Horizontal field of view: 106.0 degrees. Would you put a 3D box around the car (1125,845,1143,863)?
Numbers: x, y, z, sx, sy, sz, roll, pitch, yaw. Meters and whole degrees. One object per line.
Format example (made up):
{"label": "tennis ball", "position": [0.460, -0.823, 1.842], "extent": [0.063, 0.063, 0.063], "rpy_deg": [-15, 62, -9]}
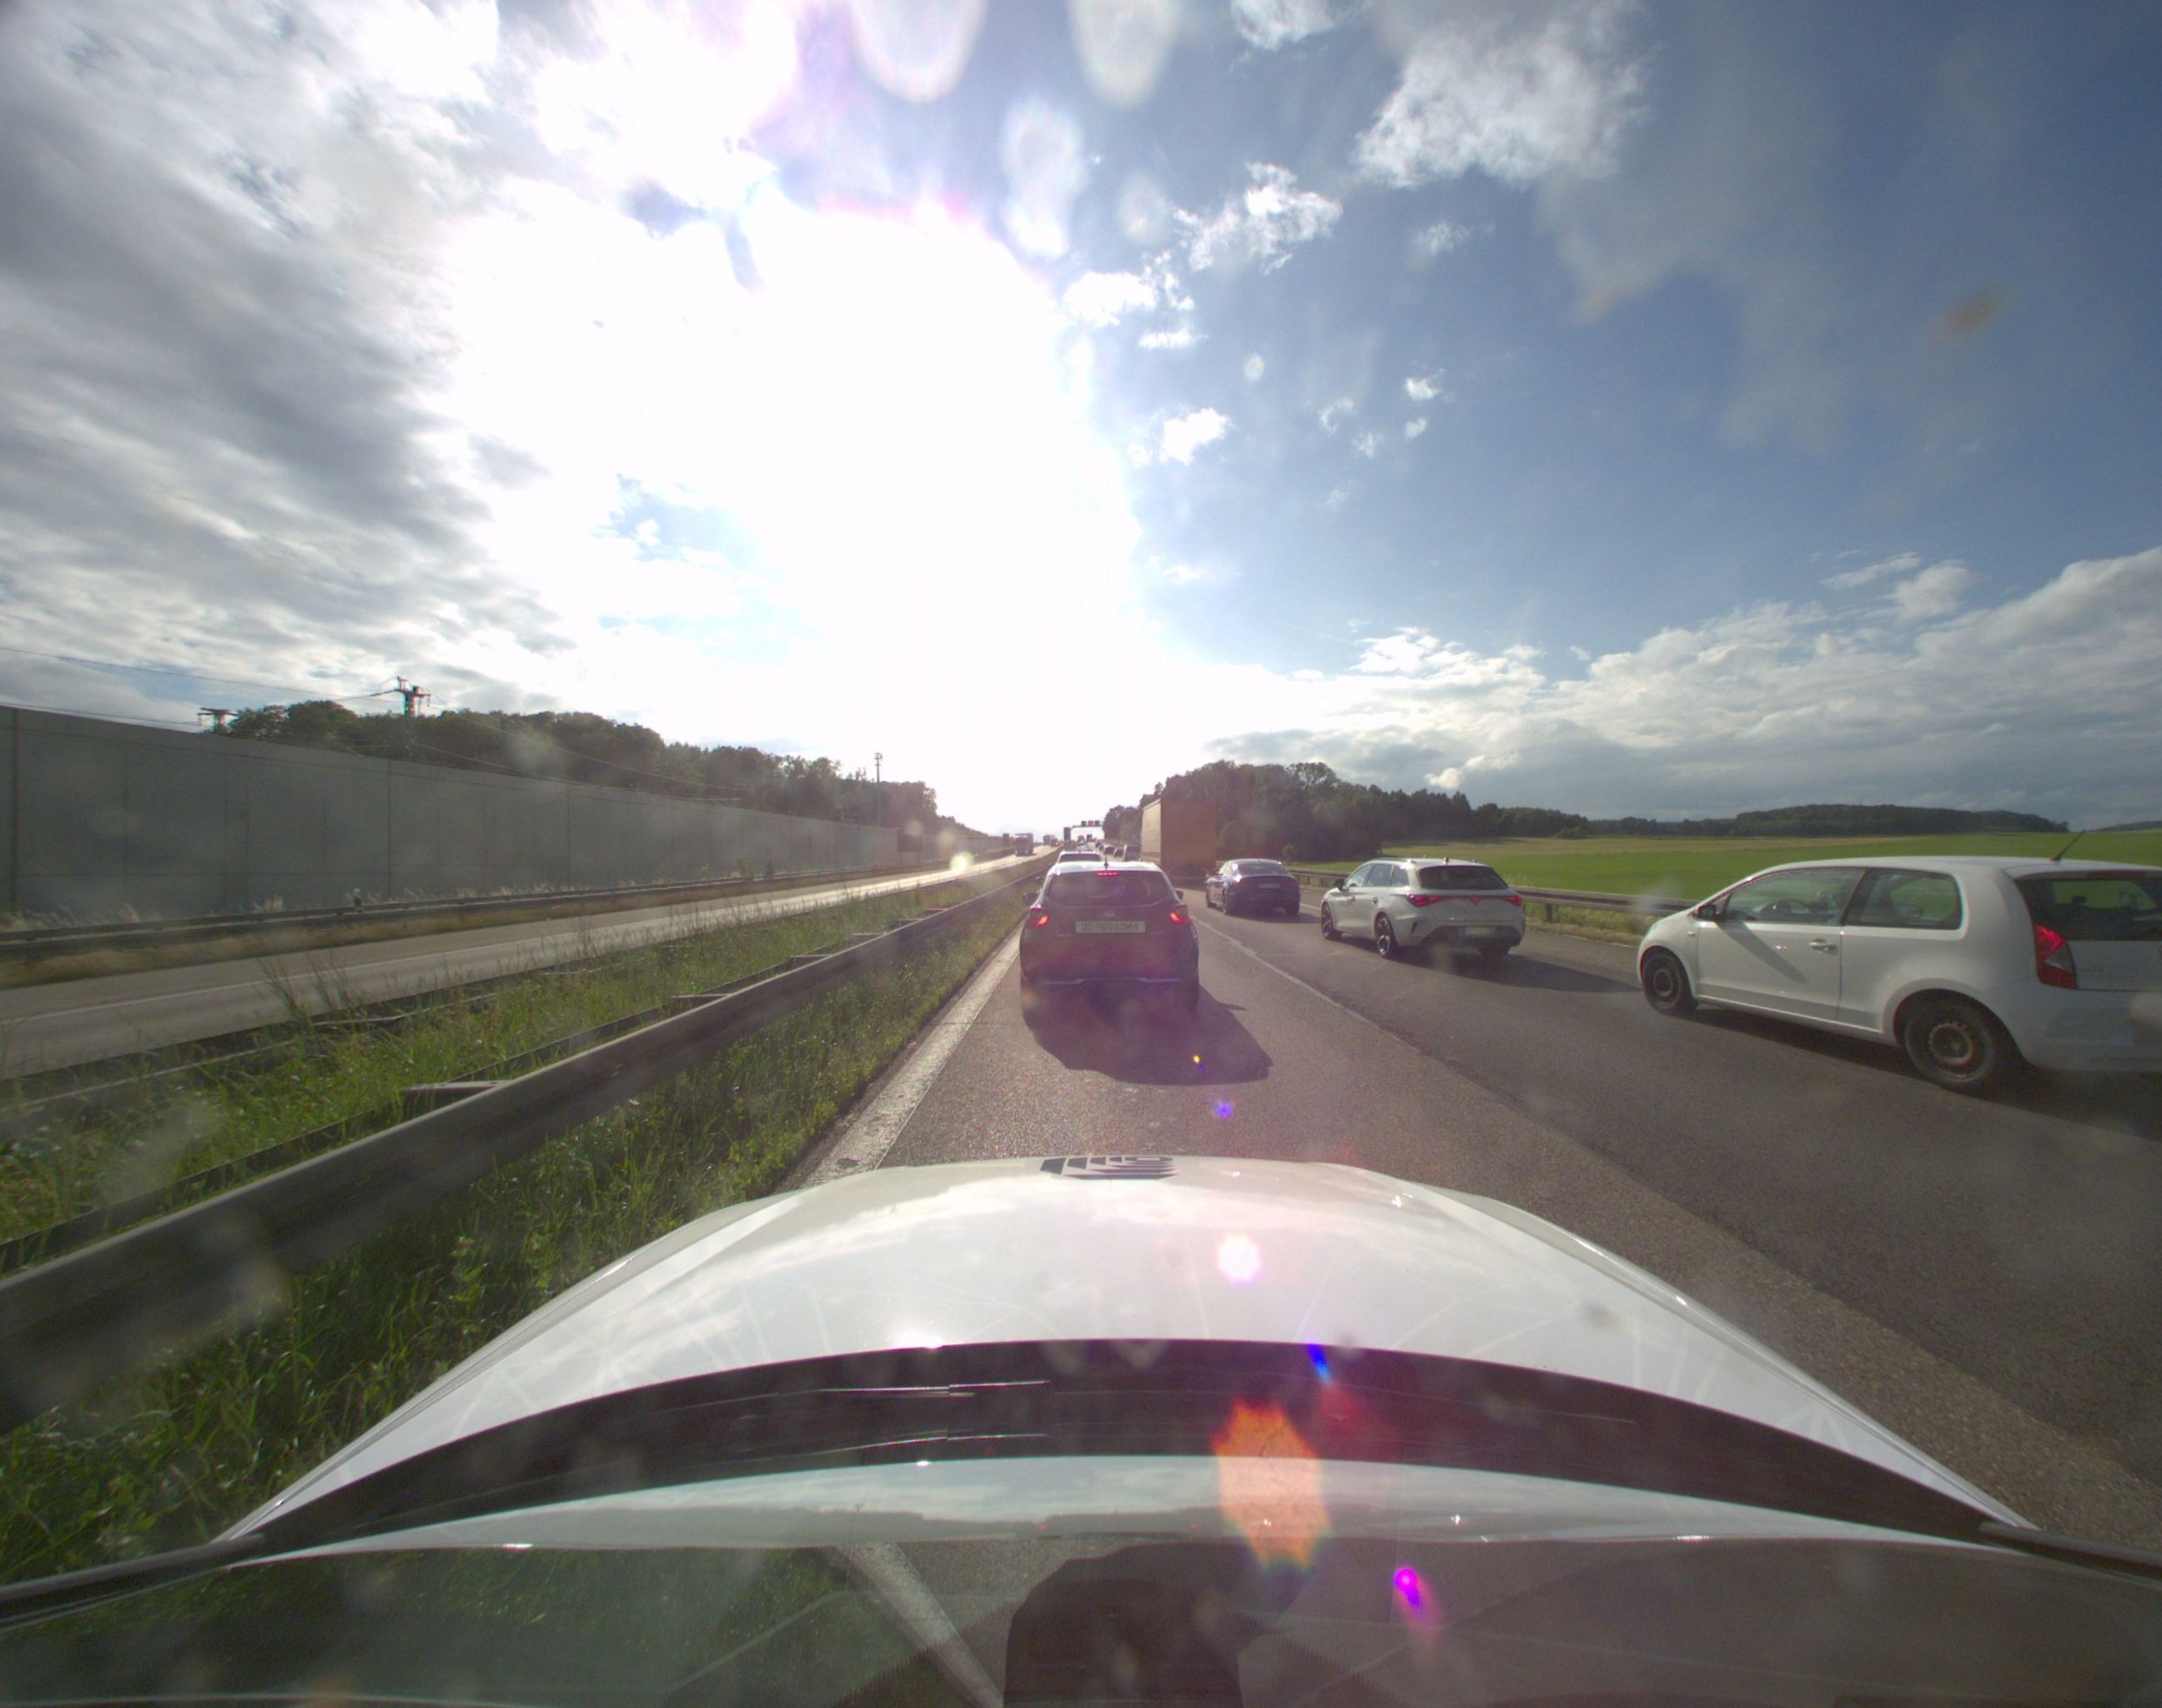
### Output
{"label": "car", "position": [5.238, 0.015, 81.081], "extent": [1.661, 1.755, 3.328], "rpy_deg": [0, -1, 2]}

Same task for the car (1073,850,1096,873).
{"label": "car", "position": [0.273, 0.698, 73.519], "extent": [1.987, 2.014, 3.998], "rpy_deg": [0, -1, -1]}

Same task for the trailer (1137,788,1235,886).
{"label": "trailer", "position": [5.234, -0.717, 43.467], "extent": [3.538, 4.457, 12.718], "rpy_deg": [0, 0, 0]}

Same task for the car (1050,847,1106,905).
{"label": "car", "position": [-0.044, 0.671, 26.137], "extent": [1.668, 1.726, 3.597], "rpy_deg": [-1, -1, 1]}

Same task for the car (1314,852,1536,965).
{"label": "car", "position": [5.071, 0.725, 12.659], "extent": [1.616, 1.445, 4.144], "rpy_deg": [-1, -1, -1]}

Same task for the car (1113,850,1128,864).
{"label": "car", "position": [5.947, 0.448, 122.587], "extent": [1.987, 2.014, 3.998], "rpy_deg": [0, -1, -1]}

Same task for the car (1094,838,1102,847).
{"label": "car", "position": [4.065, -2.788, 196.570], "extent": [1.987, 2.014, 3.998], "rpy_deg": [0, -1, -1]}

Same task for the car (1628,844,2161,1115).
{"label": "car", "position": [6.110, 0.684, 6.235], "extent": [1.544, 1.495, 3.376], "rpy_deg": [0, 0, -1]}

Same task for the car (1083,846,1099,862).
{"label": "car", "position": [1.255, 0.034, 107.222], "extent": [1.987, 2.014, 3.998], "rpy_deg": [0, -1, -1]}

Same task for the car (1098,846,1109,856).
{"label": "car", "position": [4.554, -0.600, 164.839], "extent": [1.987, 2.014, 3.998], "rpy_deg": [0, -1, -1]}

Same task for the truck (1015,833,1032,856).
{"label": "truck", "position": [-10.580, -1.652, 150.161], "extent": [2.629, 4.098, 7.000], "rpy_deg": [0, -1, 0]}

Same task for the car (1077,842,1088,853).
{"label": "car", "position": [0.254, -1.165, 152.366], "extent": [1.987, 2.014, 3.998], "rpy_deg": [0, -1, -1]}

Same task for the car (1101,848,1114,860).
{"label": "car", "position": [4.511, 0.032, 140.445], "extent": [1.987, 2.014, 3.998], "rpy_deg": [0, -1, -1]}

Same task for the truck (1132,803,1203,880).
{"label": "truck", "position": [5.188, -0.683, 50.002], "extent": [3.571, 4.380, 6.686], "rpy_deg": [0, -1, -1]}

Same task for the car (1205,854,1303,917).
{"label": "car", "position": [4.394, 0.754, 21.230], "extent": [1.741, 1.475, 4.147], "rpy_deg": [-1, -1, 1]}

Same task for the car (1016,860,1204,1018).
{"label": "car", "position": [0.318, 0.790, 9.110], "extent": [1.703, 1.426, 3.379], "rpy_deg": [-1, -1, 2]}

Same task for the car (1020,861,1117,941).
{"label": "car", "position": [-0.184, 0.830, 15.924], "extent": [1.668, 1.367, 3.597], "rpy_deg": [-1, -1, 1]}
